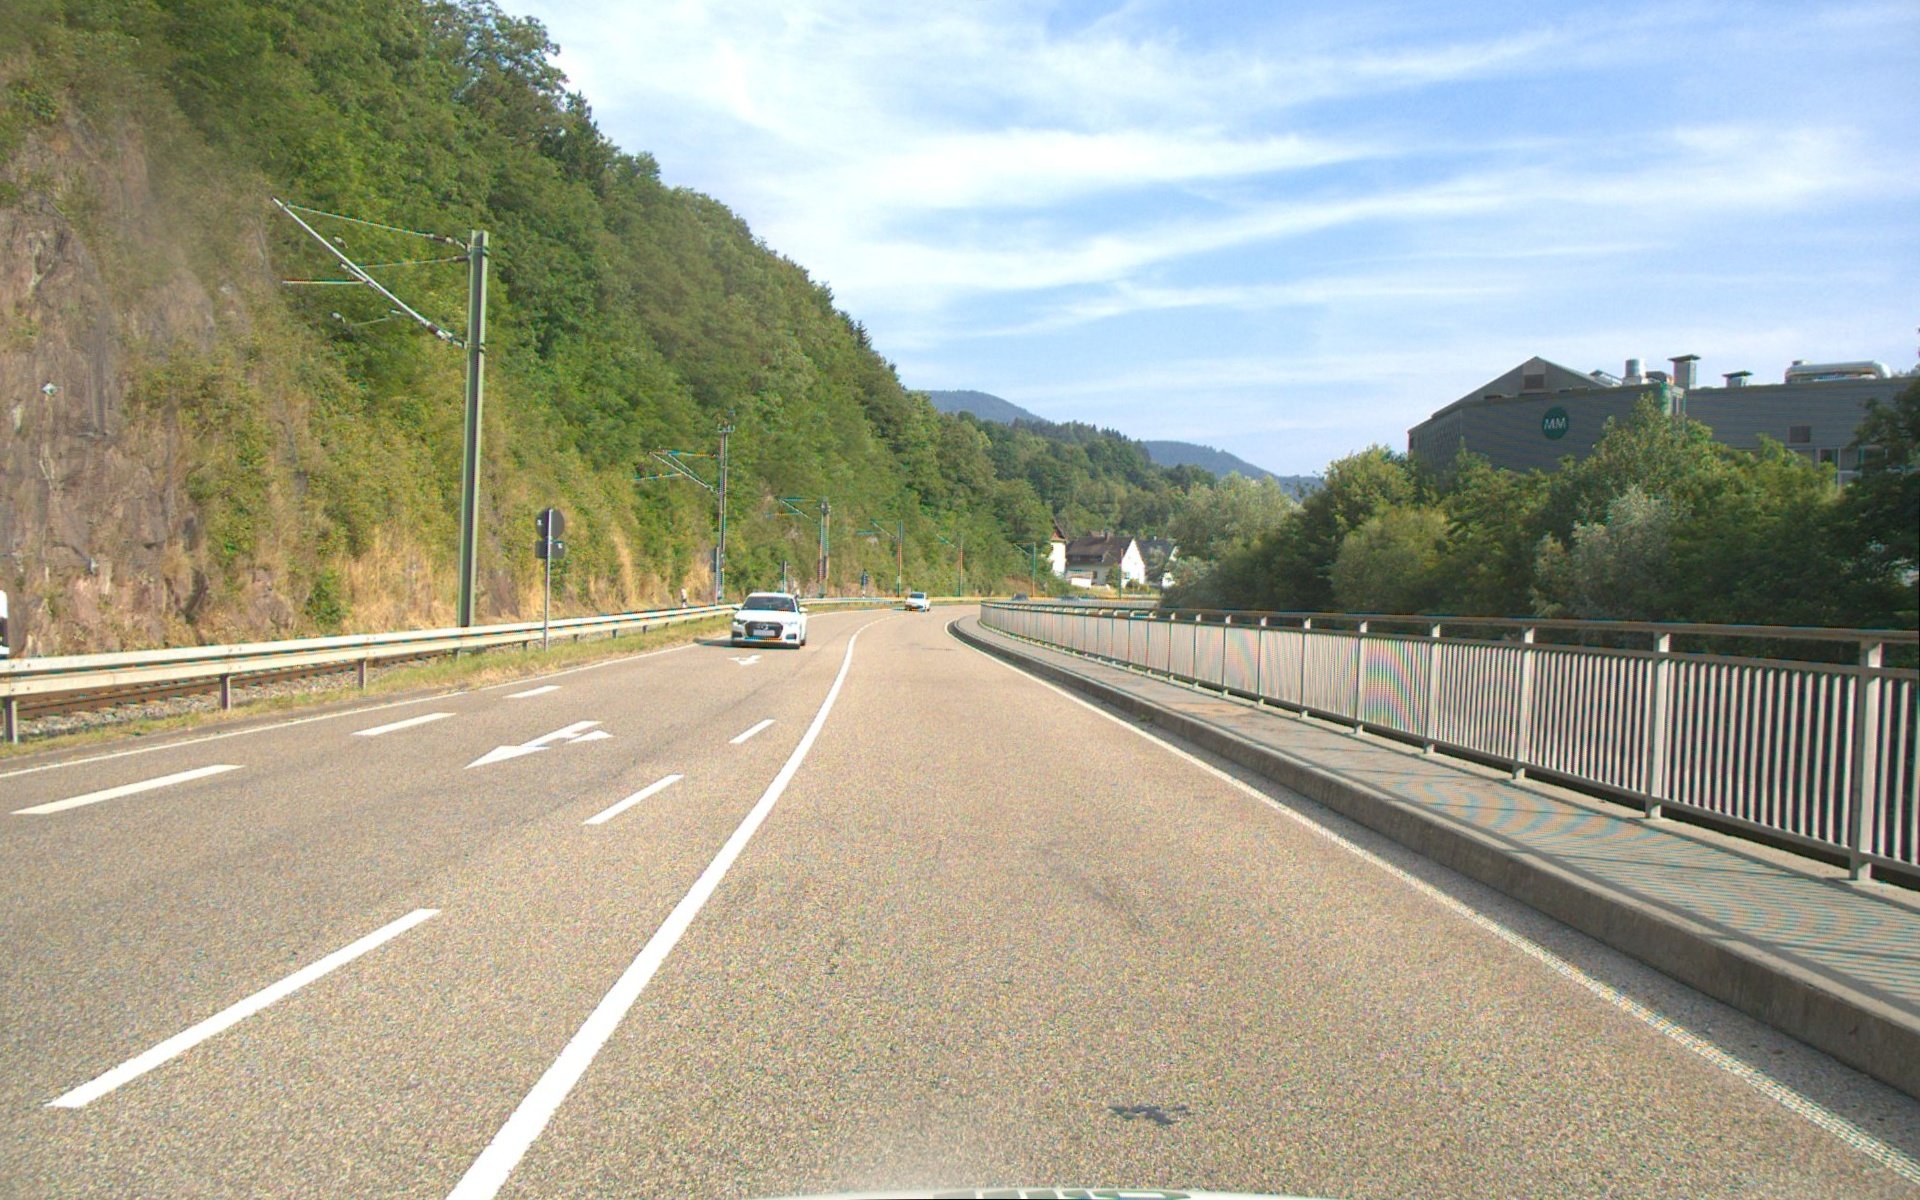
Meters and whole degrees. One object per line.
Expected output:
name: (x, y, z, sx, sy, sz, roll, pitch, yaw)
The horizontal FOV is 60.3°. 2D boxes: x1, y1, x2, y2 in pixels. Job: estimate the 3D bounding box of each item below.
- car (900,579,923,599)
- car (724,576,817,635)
car: (-4.083, -0.949, 139.048, 1.810, 1.571, 4.602, 3, 1, -2)
car: (-5.163, 0.135, 45.641, 2.021, 1.464, 4.685, 2, 0, -1)
